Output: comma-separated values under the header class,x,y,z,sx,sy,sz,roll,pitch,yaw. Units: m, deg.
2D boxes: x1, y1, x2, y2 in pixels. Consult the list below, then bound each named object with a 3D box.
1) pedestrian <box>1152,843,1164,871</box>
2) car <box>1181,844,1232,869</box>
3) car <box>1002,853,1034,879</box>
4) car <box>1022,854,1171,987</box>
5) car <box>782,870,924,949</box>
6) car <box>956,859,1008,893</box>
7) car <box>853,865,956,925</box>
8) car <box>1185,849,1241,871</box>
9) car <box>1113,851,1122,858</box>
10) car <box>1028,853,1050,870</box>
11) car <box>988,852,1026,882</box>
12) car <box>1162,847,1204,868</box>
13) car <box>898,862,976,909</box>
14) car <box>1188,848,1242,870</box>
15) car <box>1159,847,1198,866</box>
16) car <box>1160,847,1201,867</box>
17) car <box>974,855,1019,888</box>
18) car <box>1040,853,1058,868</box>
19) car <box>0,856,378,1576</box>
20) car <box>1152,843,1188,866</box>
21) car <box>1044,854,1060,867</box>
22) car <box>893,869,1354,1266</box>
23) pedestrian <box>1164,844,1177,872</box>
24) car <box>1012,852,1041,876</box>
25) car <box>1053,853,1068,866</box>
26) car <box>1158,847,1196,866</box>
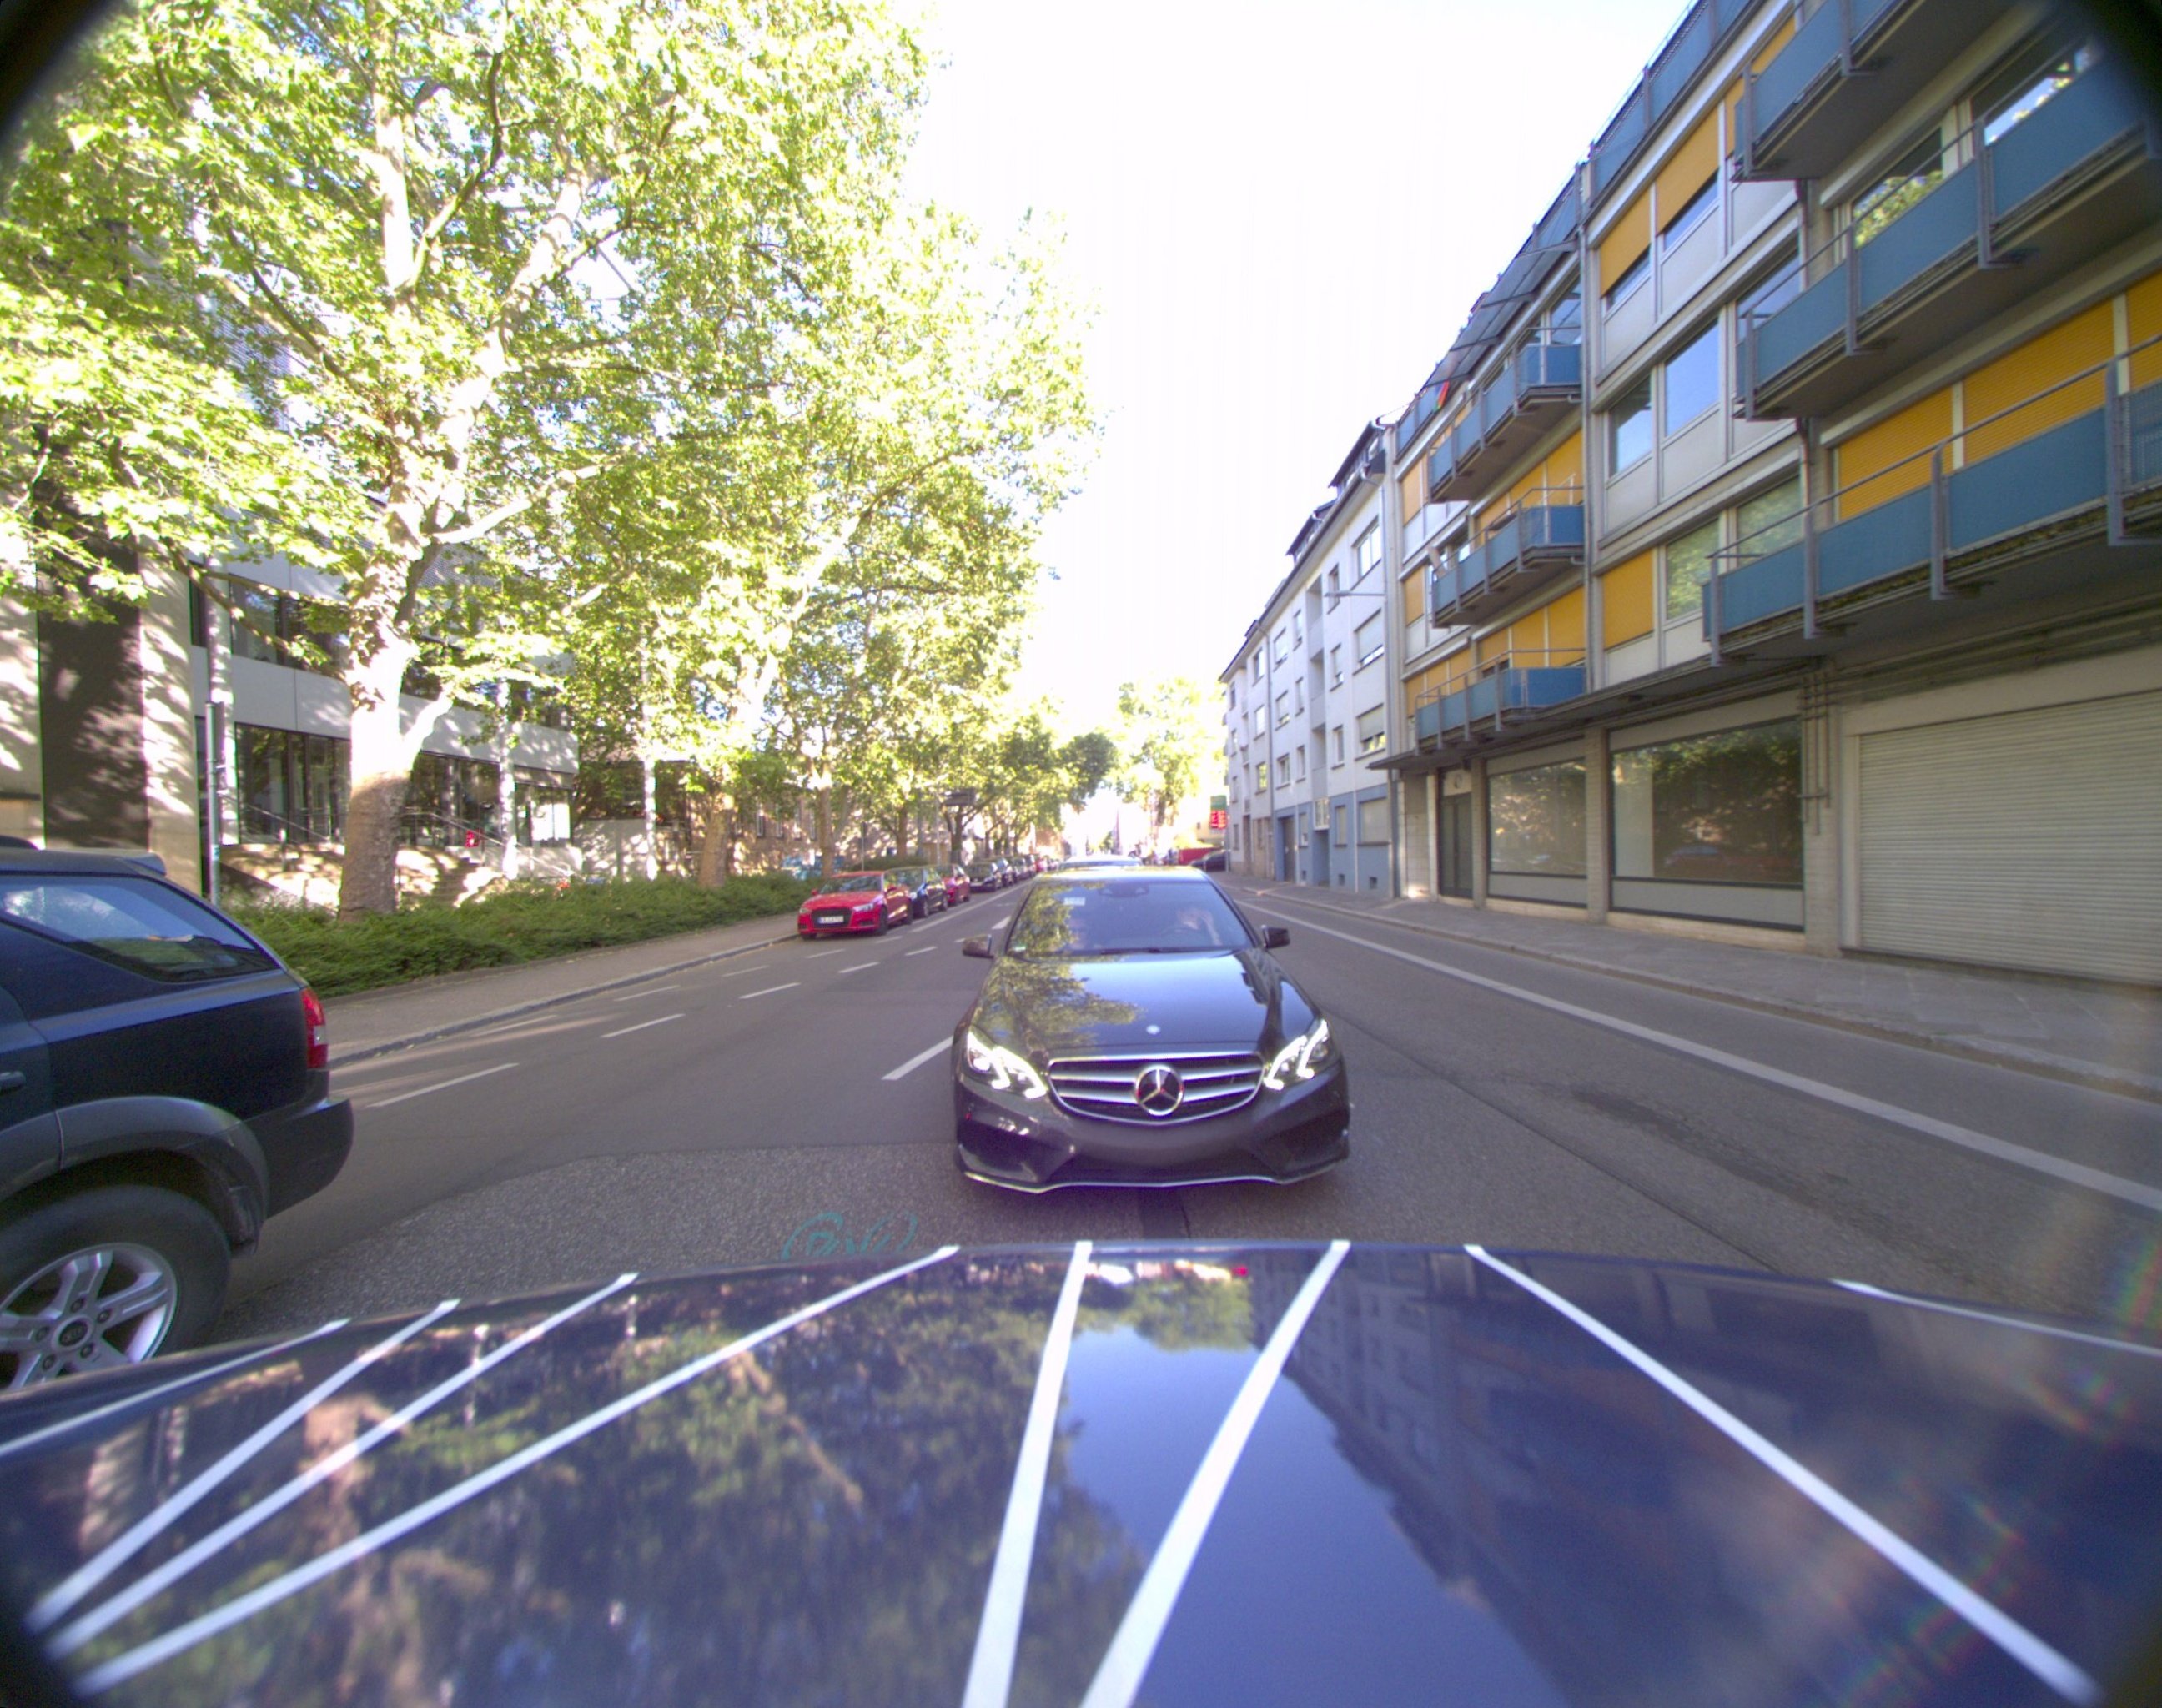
class,x,y,z,sx,sy,sz,roll,pitch,yaw
pedestrian,5.573,0.204,55.100,0.735,2.002,0.797,-2,1,1
car,10.549,0.162,64.014,3.996,1.936,2.000,-2,1,2
car,-4.502,0.820,54.789,1.866,1.749,4.481,-2,0,1
car,0.226,0.860,11.919,1.866,1.630,4.303,-2,0,1
car,-5.102,1.177,17.720,1.866,1.442,4.481,-2,0,1
car,-4.755,1.025,37.161,1.866,1.442,4.481,-2,0,1
car,-5.042,1.124,22.371,1.866,1.442,4.481,-2,0,1
car,10.175,0.430,58.860,3.996,1.543,2.000,-2,1,2
car,8.941,0.231,186.717,1.866,1.632,4.481,-2,0,1
car,-4.198,0.706,76.267,1.866,1.632,4.481,-2,0,1
car,-4.632,0.785,48.123,1.866,1.749,4.481,-2,0,1
car,10.332,0.352,77.136,3.996,1.936,2.000,-2,1,2
car,-5.086,1.065,27.414,1.866,1.442,4.481,-2,0,1
car,10.716,0.384,61.182,3.996,1.543,2.000,-2,1,2
car,10.591,0.283,82.475,3.996,1.936,2.000,-2,1,2
car,10.461,0.315,79.987,3.996,1.936,2.000,-2,1,2
car,-4.620,0.908,42.196,1.866,1.658,4.481,-2,0,1
car,-3.785,0.709,89.965,1.866,1.632,4.481,-2,0,1
car,-3.623,0.926,0.598,1.866,1.753,4.481,-2,0,1
car,10.490,0.011,89.497,3.996,2.505,2.000,-2,1,2
car,-3.669,0.809,96.766,1.866,1.632,4.481,-2,0,1
car,0.206,0.934,5.397,1.866,1.492,4.481,-2,0,1
pedestrian,6.487,0.276,54.883,0.735,2.002,1.046,-2,1,0
car,-4.245,0.757,59.745,1.866,1.749,4.481,-2,0,1
car,-2.837,0.706,105.173,1.866,1.632,4.481,-2,0,1
car,10.736,0.249,84.969,3.996,1.936,2.000,-2,1,2
